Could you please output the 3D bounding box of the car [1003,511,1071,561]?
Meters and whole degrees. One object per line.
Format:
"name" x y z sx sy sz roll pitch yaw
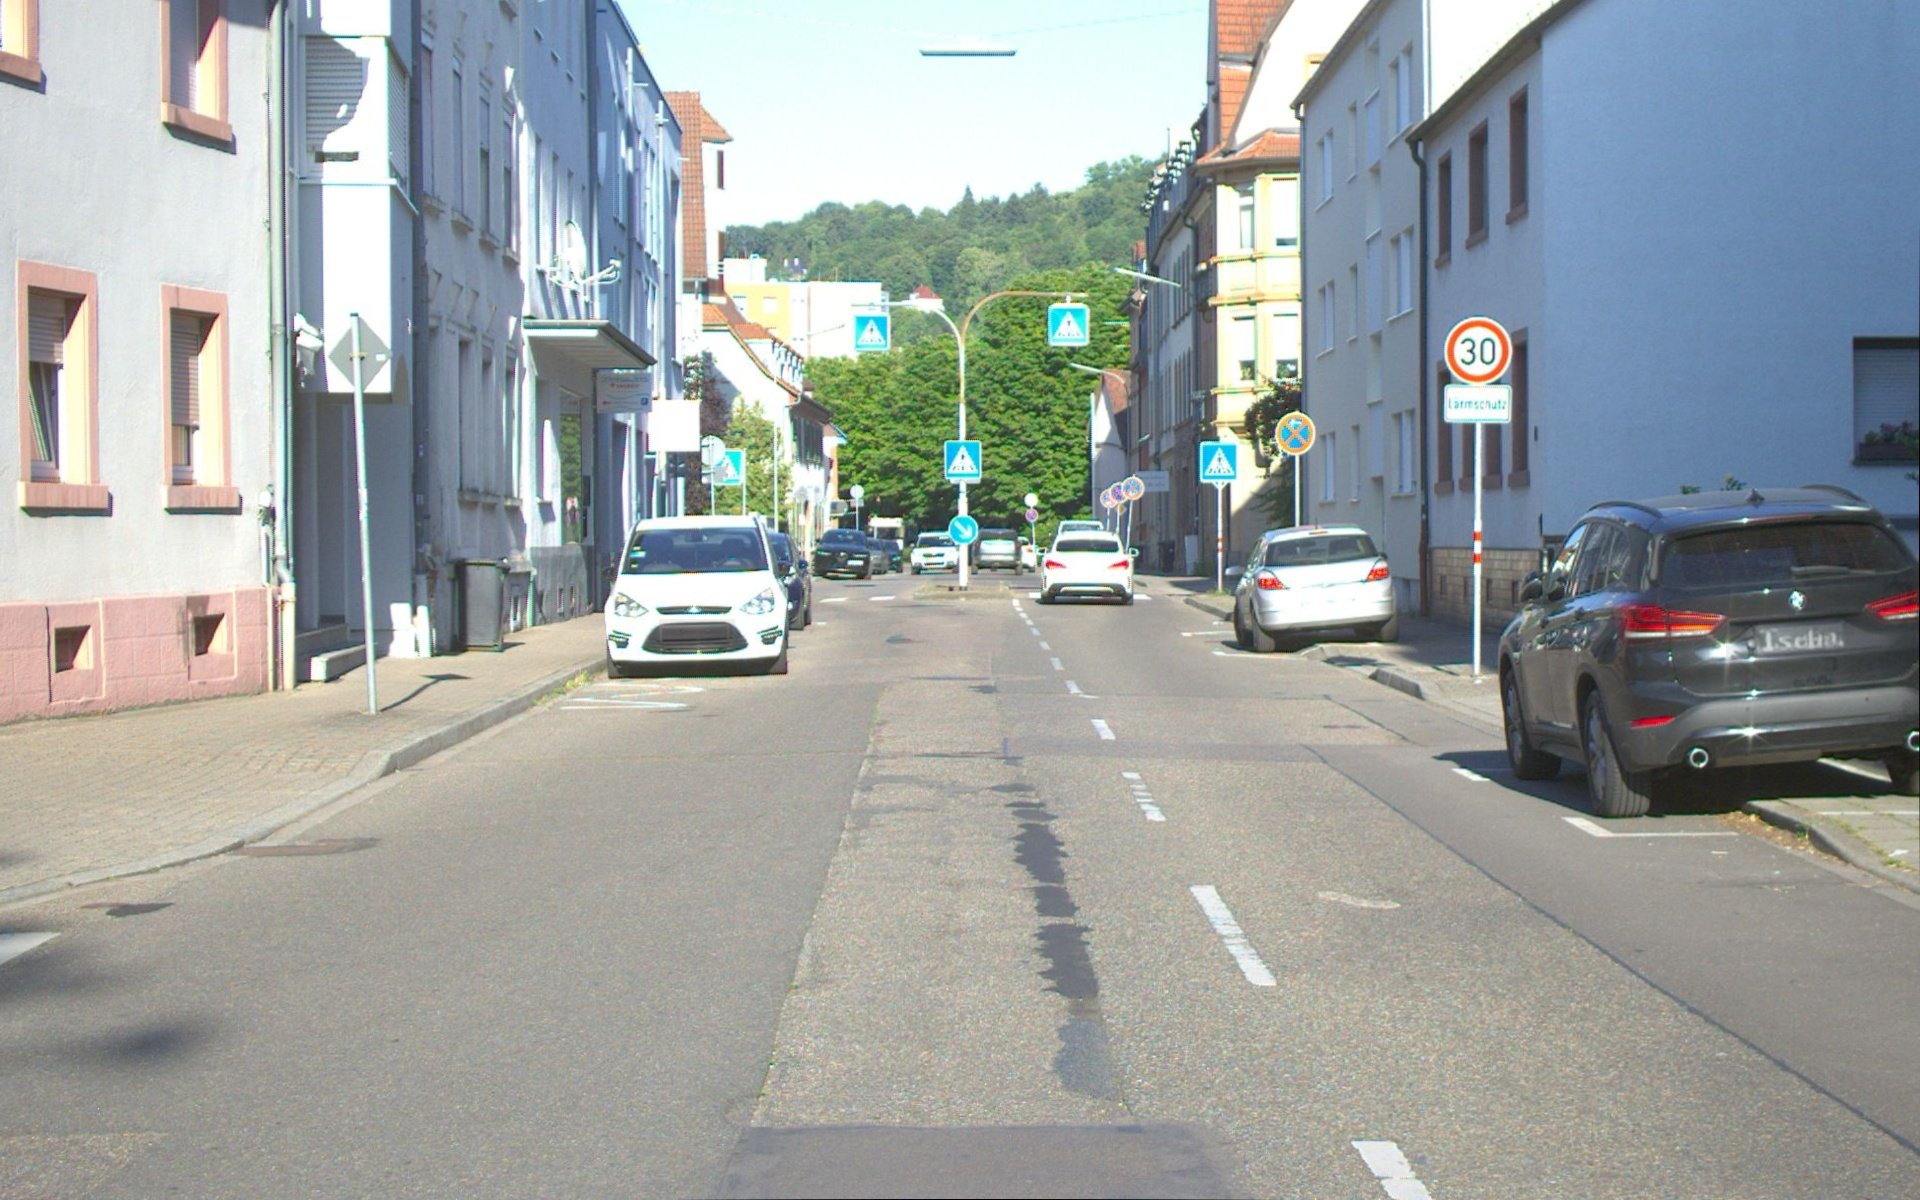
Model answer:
"car" 3.092 -2.609 139.259 1.993 2.007 4.001 0 2 -10

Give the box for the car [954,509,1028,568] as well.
"car" 1.072 -2.188 121.211 1.993 2.007 4.001 -1 1 -8

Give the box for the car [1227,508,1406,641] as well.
"car" 4.326 -0.349 42.294 1.741 1.487 4.439 -2 1 1

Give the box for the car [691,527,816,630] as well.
"car" -3.132 -0.340 52.718 1.731 1.494 3.959 -1 1 -1

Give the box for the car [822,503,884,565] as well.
"car" -3.527 -2.190 112.802 1.993 2.007 4.001 0 2 -2

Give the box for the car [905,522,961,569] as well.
"car" -1.055 -2.112 132.689 1.807 1.695 4.193 -3 2 -4

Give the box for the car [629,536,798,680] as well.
"car" -2.856 0.051 40.592 1.764 1.490 4.127 -3 2 -2

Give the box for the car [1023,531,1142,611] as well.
"car" 2.339 -0.586 66.590 1.993 1.461 4.001 -1 1 -2

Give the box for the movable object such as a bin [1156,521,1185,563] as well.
"movable object such as a bin" 7.196 -1.991 117.712 0.871 1.373 0.685 -2 2 -4

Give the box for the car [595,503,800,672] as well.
"car" -2.708 -0.196 36.178 1.993 1.642 5.223 0 2 -3

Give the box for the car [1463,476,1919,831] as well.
"car" 4.064 0.183 18.907 1.854 1.630 4.623 -3 2 0
